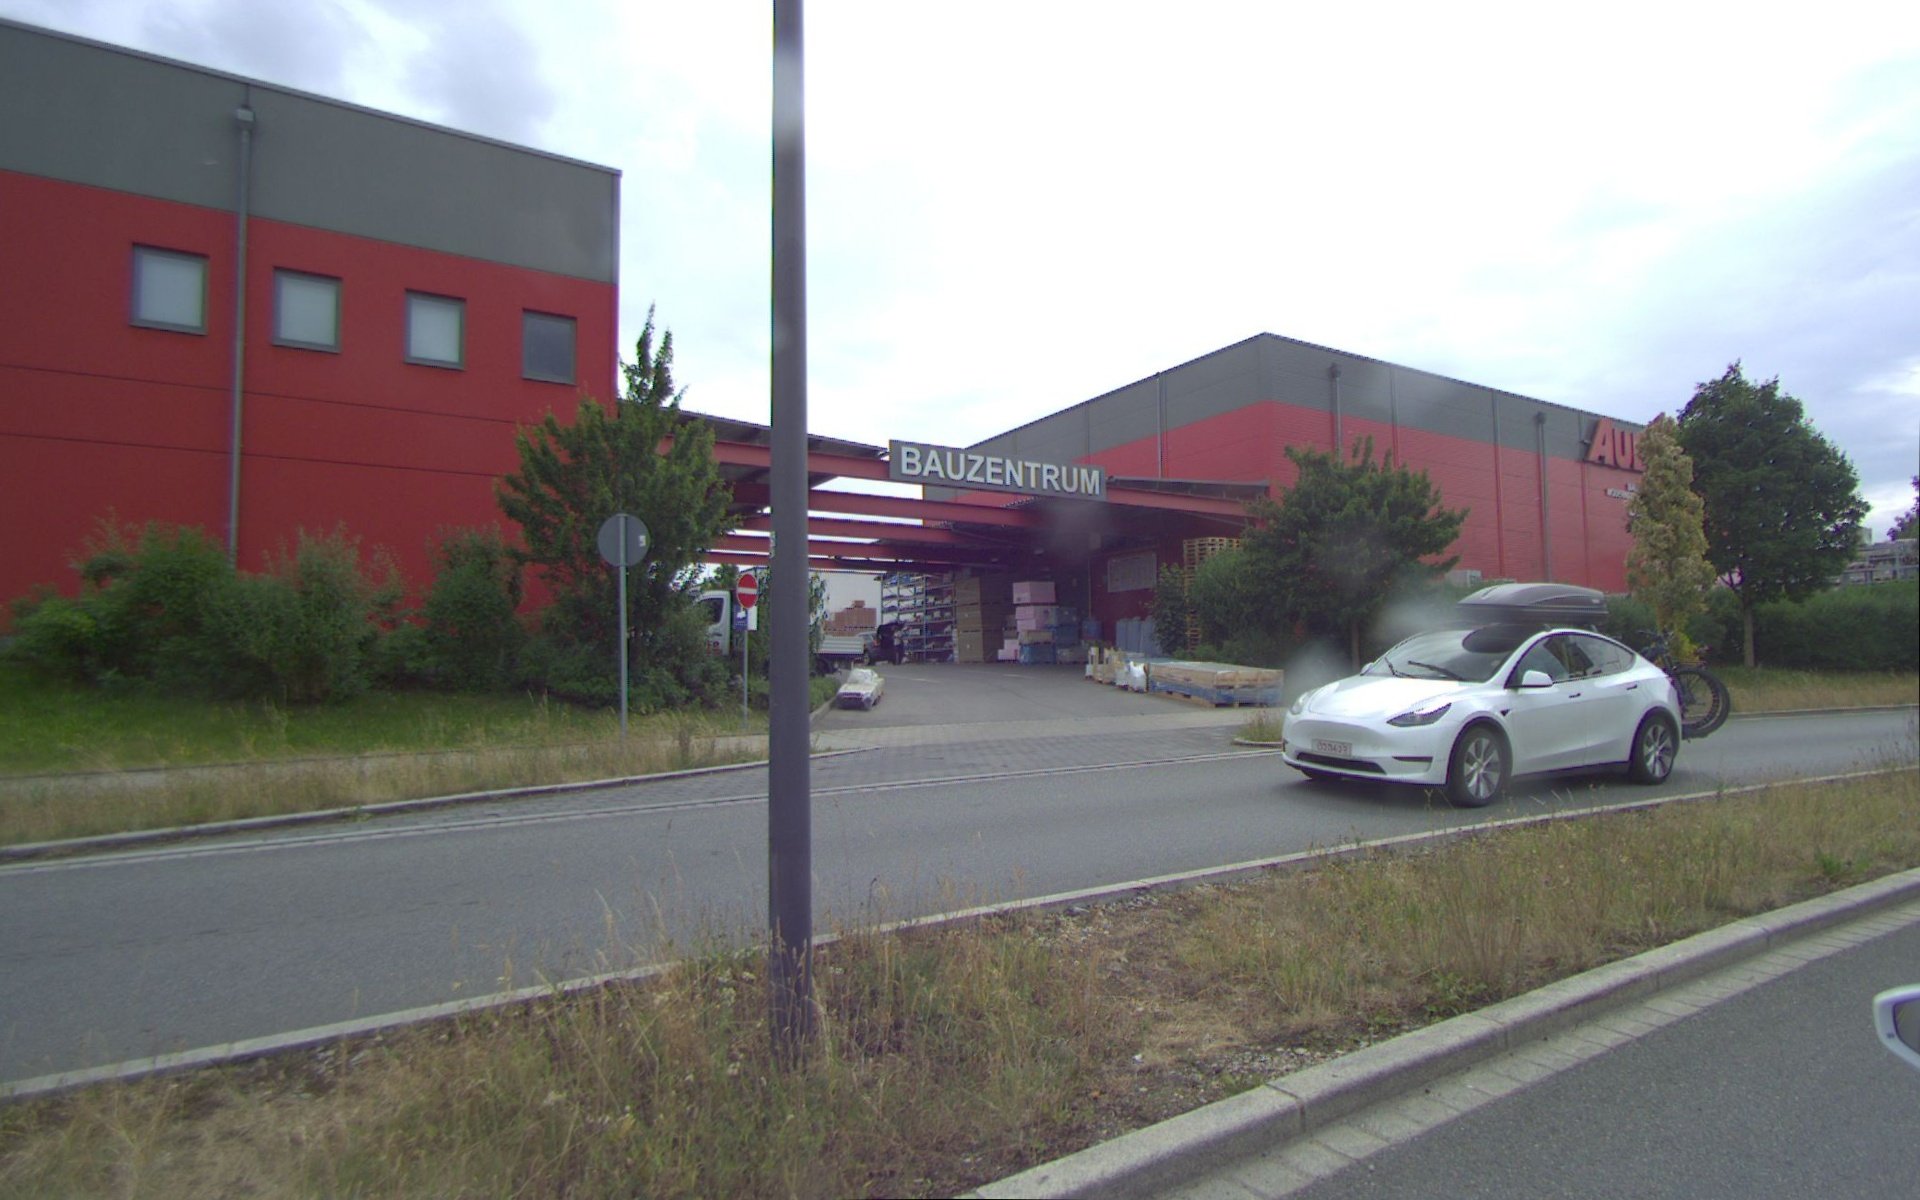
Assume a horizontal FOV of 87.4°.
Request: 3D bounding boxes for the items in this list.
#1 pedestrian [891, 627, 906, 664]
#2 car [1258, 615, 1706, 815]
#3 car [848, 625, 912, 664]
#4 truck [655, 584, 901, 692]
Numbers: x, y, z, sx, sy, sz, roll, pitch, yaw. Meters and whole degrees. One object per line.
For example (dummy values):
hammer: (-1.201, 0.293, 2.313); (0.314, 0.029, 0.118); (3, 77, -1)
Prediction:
pedestrian: (-2.976, 2.195, 48.448); (0.556, 1.776, 0.478); (1, -3, -29)
car: (5.440, 0.999, 10.354); (4.580, 1.648, 1.901); (1, 0, -29)
car: (-4.092, 2.261, 50.827); (1.789, 1.872, 3.970); (1, -3, -29)
truck: (-4.599, 0.957, 25.734); (5.838, 2.520, 2.023); (2, 0, -30)
